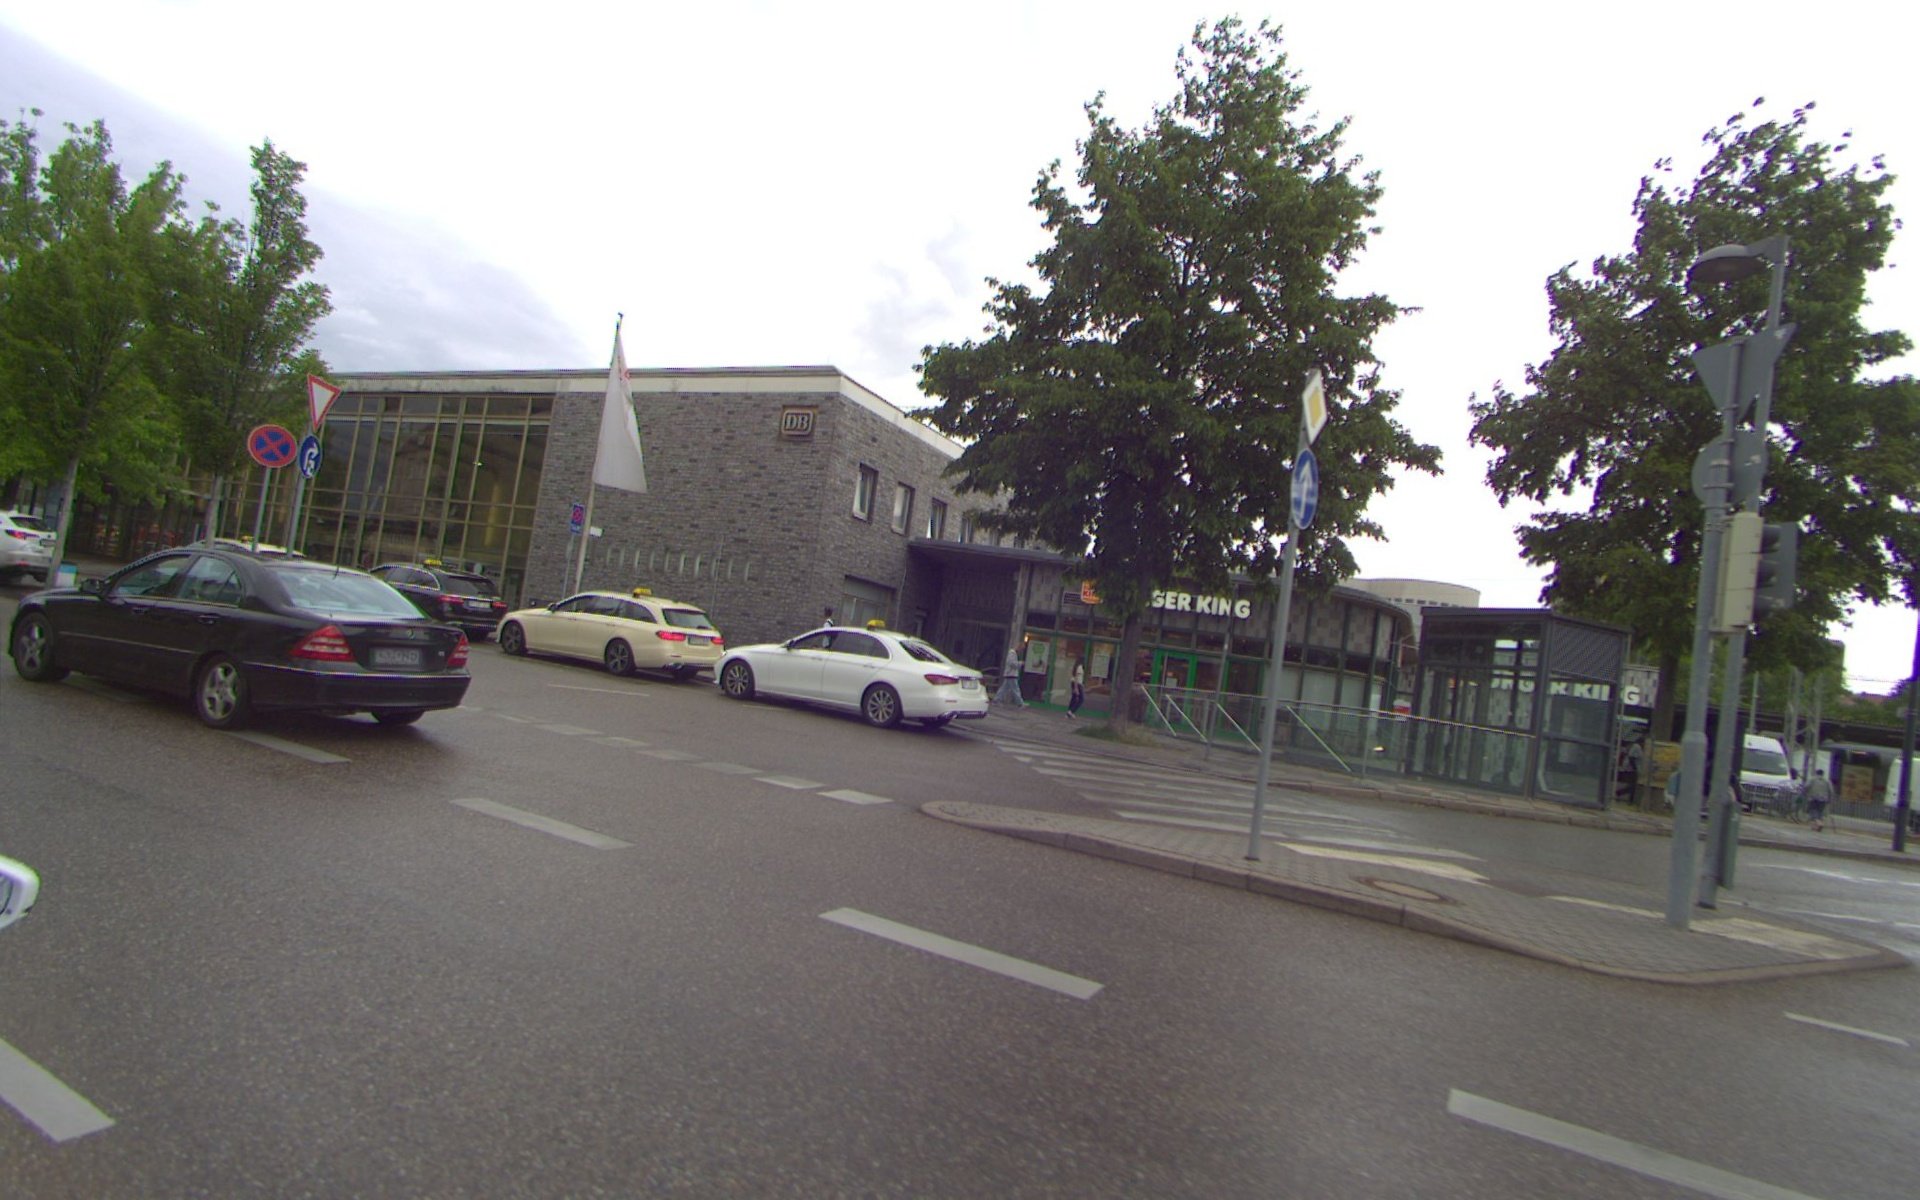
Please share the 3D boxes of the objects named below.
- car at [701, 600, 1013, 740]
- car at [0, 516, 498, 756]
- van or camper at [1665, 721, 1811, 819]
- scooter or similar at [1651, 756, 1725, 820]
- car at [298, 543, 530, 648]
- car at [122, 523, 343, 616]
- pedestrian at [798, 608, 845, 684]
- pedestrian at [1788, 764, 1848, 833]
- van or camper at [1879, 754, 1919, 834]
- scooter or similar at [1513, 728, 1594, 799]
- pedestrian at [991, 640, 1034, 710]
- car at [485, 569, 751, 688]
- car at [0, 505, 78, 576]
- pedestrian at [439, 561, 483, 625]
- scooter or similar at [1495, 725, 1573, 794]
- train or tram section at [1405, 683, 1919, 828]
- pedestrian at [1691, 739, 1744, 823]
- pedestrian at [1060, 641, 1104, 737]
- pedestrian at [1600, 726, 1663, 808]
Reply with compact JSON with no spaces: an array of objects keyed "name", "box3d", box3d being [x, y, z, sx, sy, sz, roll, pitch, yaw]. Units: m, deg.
[{"name":"car","box3d":[-1.765,1.098,16.720,4.819,1.618,1.884,6,-1,29]},{"name":"car","box3d":[-6.542,0.253,9.040,4.370,1.483,1.700,6,-1,22]},{"name":"van or camper","box3d":[25.986,5.585,33.902,2.126,2.462,5.866,6,-2,22]},{"name":"scooter or similar","box3d":[15.707,4.058,21.715,1.281,1.196,0.333,7,0,-5]},{"name":"car","box3d":[-12.146,-0.106,22.330,4.872,1.617,2.000,7,-3,28]},{"name":"car","box3d":[-18.044,-0.760,24.959,4.866,1.618,2.001,7,-1,21]},{"name":"pedestrian","box3d":[-3.310,1.100,24.088,0.762,1.686,0.647,7,-1,7]},{"name":"pedestrian","box3d":[21.687,5.020,25.436,0.825,1.548,0.637,7,-1,-1]},{"name":"van or camper","box3d":[33.883,6.703,32.434,5.763,2.462,1.998,6,-1,29]},{"name":"scooter or similar","box3d":[11.484,3.156,19.466,1.281,1.196,0.333,7,0,-5]},{"name":"pedestrian","box3d":[1.293,1.850,24.945,0.699,1.599,0.769,7,-1,-12]},{"name":"car","box3d":[-6.657,0.534,19.452,4.873,1.618,1.998,7,-1,29]},{"name":"car","box3d":[-25.330,-1.748,25.032,4.698,1.563,1.761,8,-2,-11]},{"name":"pedestrian","box3d":[-13.739,-0.197,27.709,0.785,1.646,0.721,7,-1,-15]},{"name":"scooter or similar","box3d":[11.449,3.176,20.067,1.281,1.196,0.333,7,0,-5]},{"name":"train or tram section","box3d":[41.864,8.846,58.478,28.804,4.231,4.601,6,-1,29]},{"name":"pedestrian","box3d":[16.822,3.997,22.337,0.786,1.687,0.720,6,-1,39]},{"name":"pedestrian","box3d":[2.926,2.130,24.215,0.709,2.190,0.797,7,0,-2]},{"name":"pedestrian","box3d":[15.246,3.786,22.847,0.713,1.687,0.793,7,-1,-23]}]
